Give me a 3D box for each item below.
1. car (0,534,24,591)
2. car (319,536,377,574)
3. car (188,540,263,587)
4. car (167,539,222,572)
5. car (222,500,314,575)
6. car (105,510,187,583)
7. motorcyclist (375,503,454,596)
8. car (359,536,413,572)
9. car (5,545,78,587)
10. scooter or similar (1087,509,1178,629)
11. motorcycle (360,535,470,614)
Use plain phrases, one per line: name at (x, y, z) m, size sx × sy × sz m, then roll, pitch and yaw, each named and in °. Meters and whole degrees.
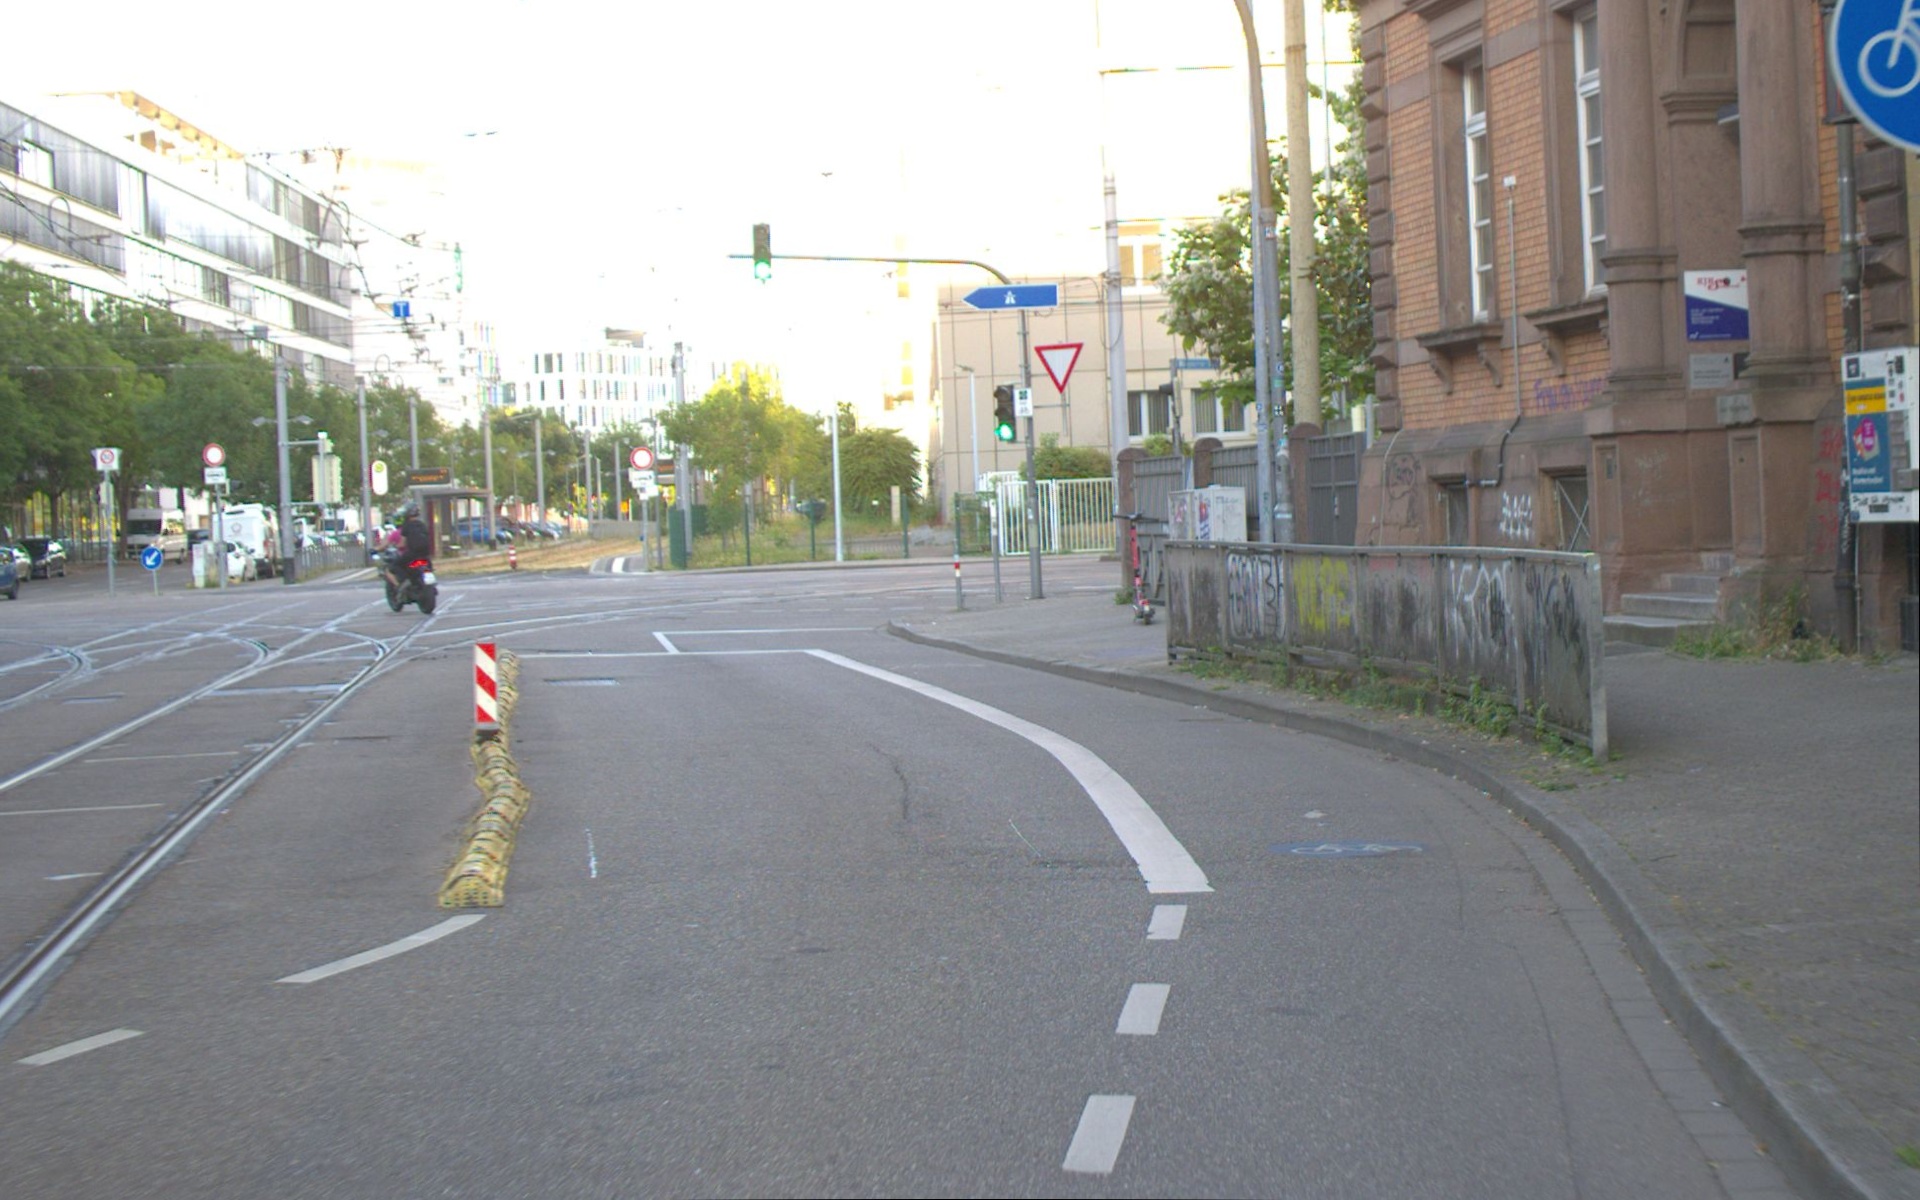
car at (-29.667, -1.105, 103.594) m, size 1.683 × 1.694 × 4.239 m, roll -2°, pitch 2°, yaw 0°
car at (-24.846, -1.837, 139.642) m, size 1.682 × 1.434 × 4.126 m, roll -2°, pitch 2°, yaw -2°
car at (-24.421, -1.227, 114.442) m, size 1.682 × 1.434 × 4.126 m, roll -2°, pitch 2°, yaw -2°
car at (-36.676, -2.137, 164.730) m, size 1.682 × 1.496 × 4.239 m, roll -2°, pitch 2°, yaw -1°
car at (-24.205, -2.208, 120.525) m, size 2.460 × 2.474 × 5.810 m, roll -2°, pitch 2°, yaw -5°
car at (-36.634, -2.450, 154.849) m, size 2.201 × 3.141 × 6.143 m, roll -2°, pitch 1°, yaw -1°
motorcyclist at (-8.933, -0.824, 56.273) m, size 0.828 × 1.468 × 1.207 m, roll -3°, pitch 2°, yaw -31°
car at (-24.679, -1.999, 148.007) m, size 1.682 × 1.434 × 4.126 m, roll -2°, pitch 2°, yaw -2°
car at (-35.655, -1.340, 133.518) m, size 1.682 × 1.496 × 4.239 m, roll -2°, pitch 2°, yaw -1°
scooter or similar at (1.897, -0.351, 37.999) m, size 0.641 × 1.261 × 1.583 m, roll -4°, pitch 2°, yaw -8°
motorcycle at (-8.932, -0.421, 56.292) m, size 0.828 × 1.235 × 2.491 m, roll -3°, pitch 2°, yaw -32°
